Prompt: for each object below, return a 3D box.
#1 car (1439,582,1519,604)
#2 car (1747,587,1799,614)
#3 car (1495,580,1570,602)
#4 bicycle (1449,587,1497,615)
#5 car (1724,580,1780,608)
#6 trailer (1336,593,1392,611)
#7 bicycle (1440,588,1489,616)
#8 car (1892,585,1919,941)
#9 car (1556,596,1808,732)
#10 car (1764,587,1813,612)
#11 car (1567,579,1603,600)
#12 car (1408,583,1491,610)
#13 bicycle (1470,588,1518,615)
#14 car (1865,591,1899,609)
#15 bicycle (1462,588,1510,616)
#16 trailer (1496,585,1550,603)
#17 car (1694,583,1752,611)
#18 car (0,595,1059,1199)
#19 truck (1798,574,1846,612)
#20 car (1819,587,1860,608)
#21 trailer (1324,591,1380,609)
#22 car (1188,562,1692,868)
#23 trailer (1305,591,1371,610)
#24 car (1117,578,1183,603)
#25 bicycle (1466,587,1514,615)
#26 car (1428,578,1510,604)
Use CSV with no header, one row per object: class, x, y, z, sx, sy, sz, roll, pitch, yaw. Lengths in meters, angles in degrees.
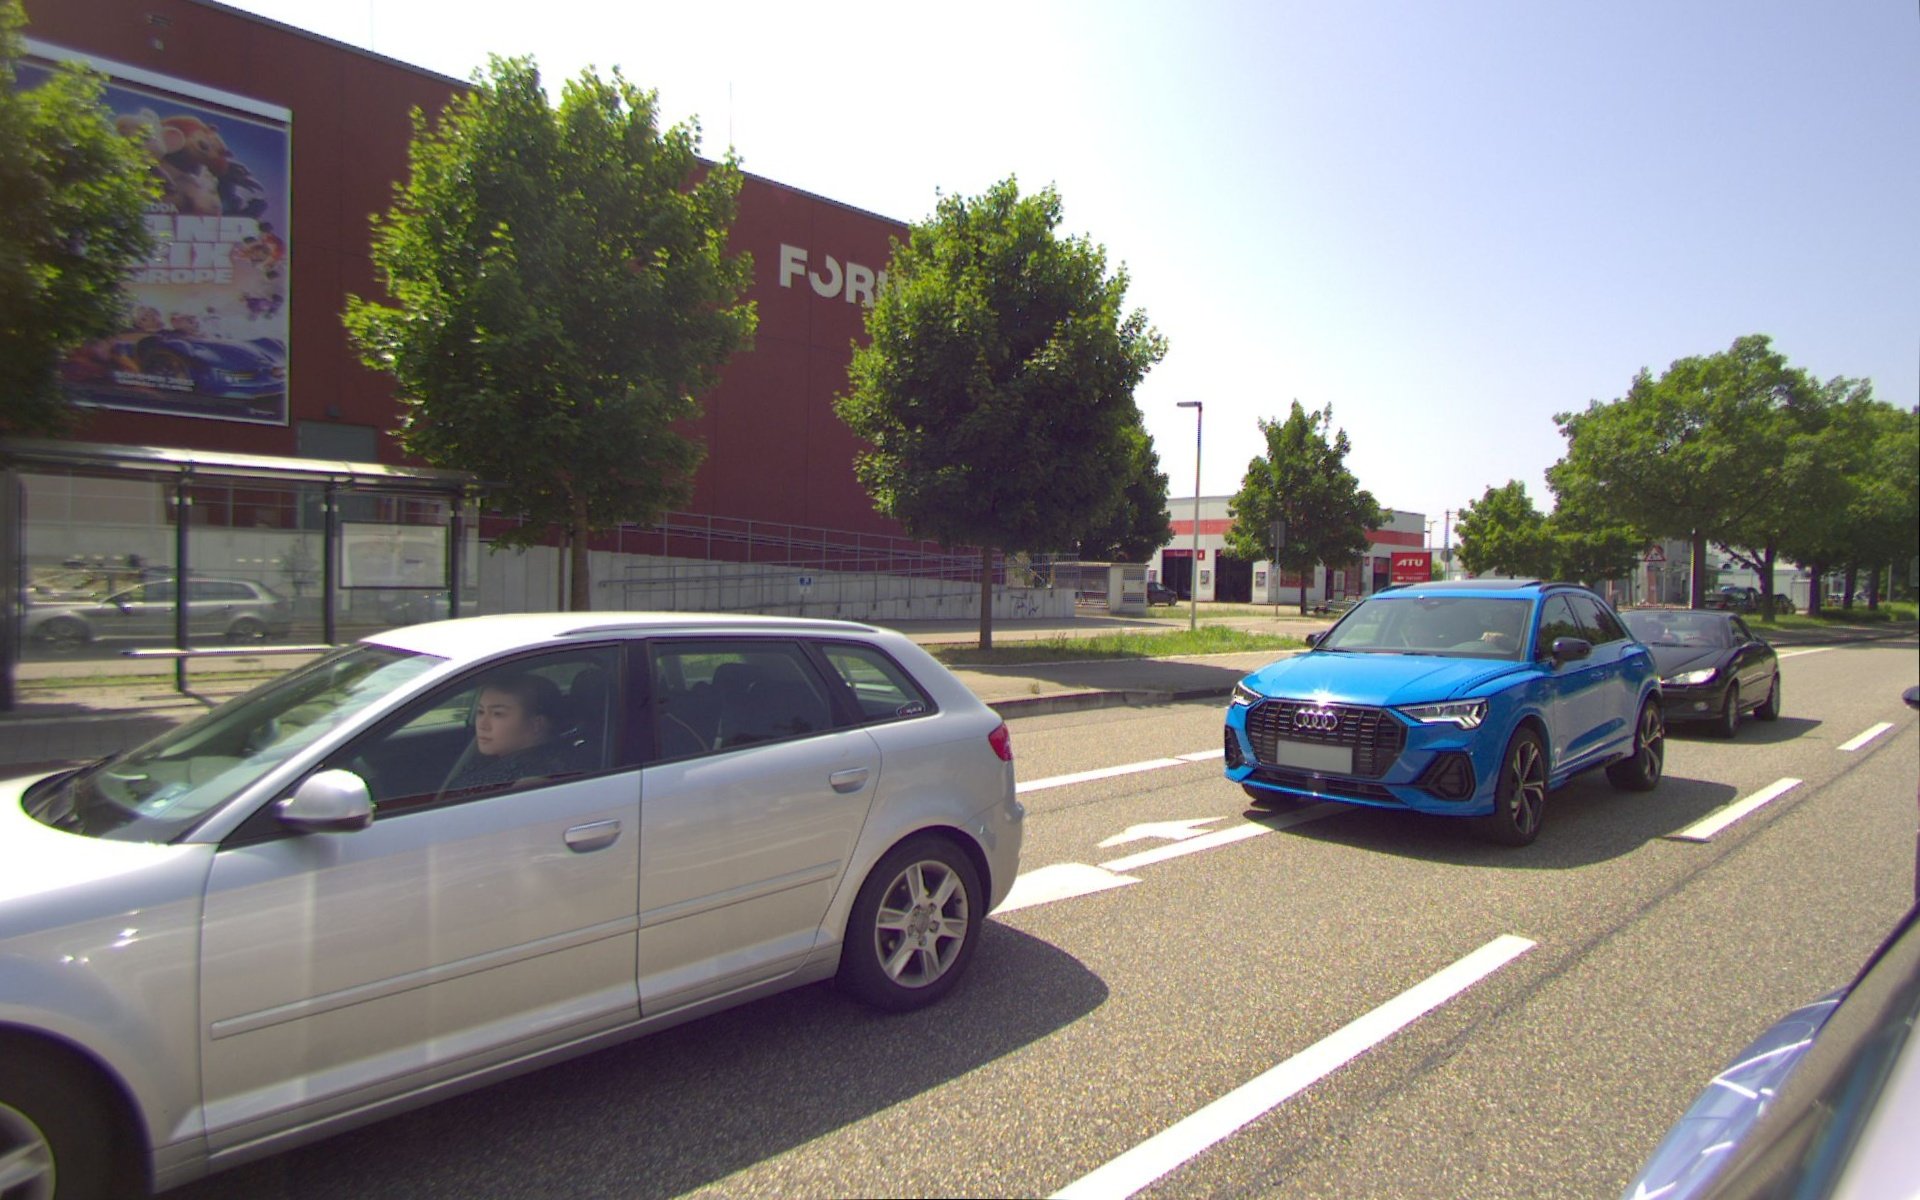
car,31.580,-0.450,61.589,1.718,1.223,3.991,0,2,-44
car,48.220,0.017,60.019,3.930,1.539,1.719,0,2,-41
car,37.309,-0.579,66.001,1.662,1.317,3.991,0,2,-44
bicycle,22.063,0.051,43.559,1.779,1.138,0.506,2,2,43
car,44.377,-0.328,56.701,3.930,1.485,1.719,0,2,-41
trailer,19.594,0.080,49.119,1.369,0.771,2.137,0,2,-39
bicycle,21.549,0.067,43.214,1.779,1.138,0.506,2,2,43
car,5.791,0.677,4.802,3.931,1.421,1.640,0,2,-42
car,8.709,0.645,12.085,3.931,1.361,1.640,0,0,-42
car,52.602,-0.038,64.231,3.930,1.532,1.719,0,2,-41
car,49.270,-0.832,79.797,1.753,1.616,3.940,2,2,42
car,28.265,-0.241,58.511,1.718,1.419,3.992,0,2,-43
bicycle,23.663,0.055,44.871,1.779,1.138,0.506,2,2,43
car,80.934,-0.002,88.786,3.930,1.485,1.719,0,2,-41
bicycle,22.785,0.082,43.841,1.779,1.138,0.506,2,2,43
trailer,35.631,-0.406,64.020,1.552,1.065,2.638,0,2,-43
car,39.749,-0.160,52.694,3.930,1.388,1.641,0,2,-41
car,-1.659,0.685,3.314,4.022,1.379,1.714,0,0,-43
truck,61.229,-0.523,71.884,3.929,2.599,1.904,0,2,-40
car,65.648,-0.176,75.529,3.930,1.485,1.719,0,2,-41
trailer,18.544,-0.025,47.895,1.244,0.771,2.137,0,2,-39
car,3.737,0.579,7.487,4.324,1.616,1.840,0,1,-42
trailer,17.324,0.007,46.478,1.423,0.771,2.467,0,2,-39
car,11.377,-0.558,60.389,4.074,1.389,1.716,0,2,-42
bicycle,23.195,0.039,44.331,1.779,1.138,0.506,2,2,43
car,30.057,-0.549,59.792,1.718,1.419,3.991,0,2,-44
